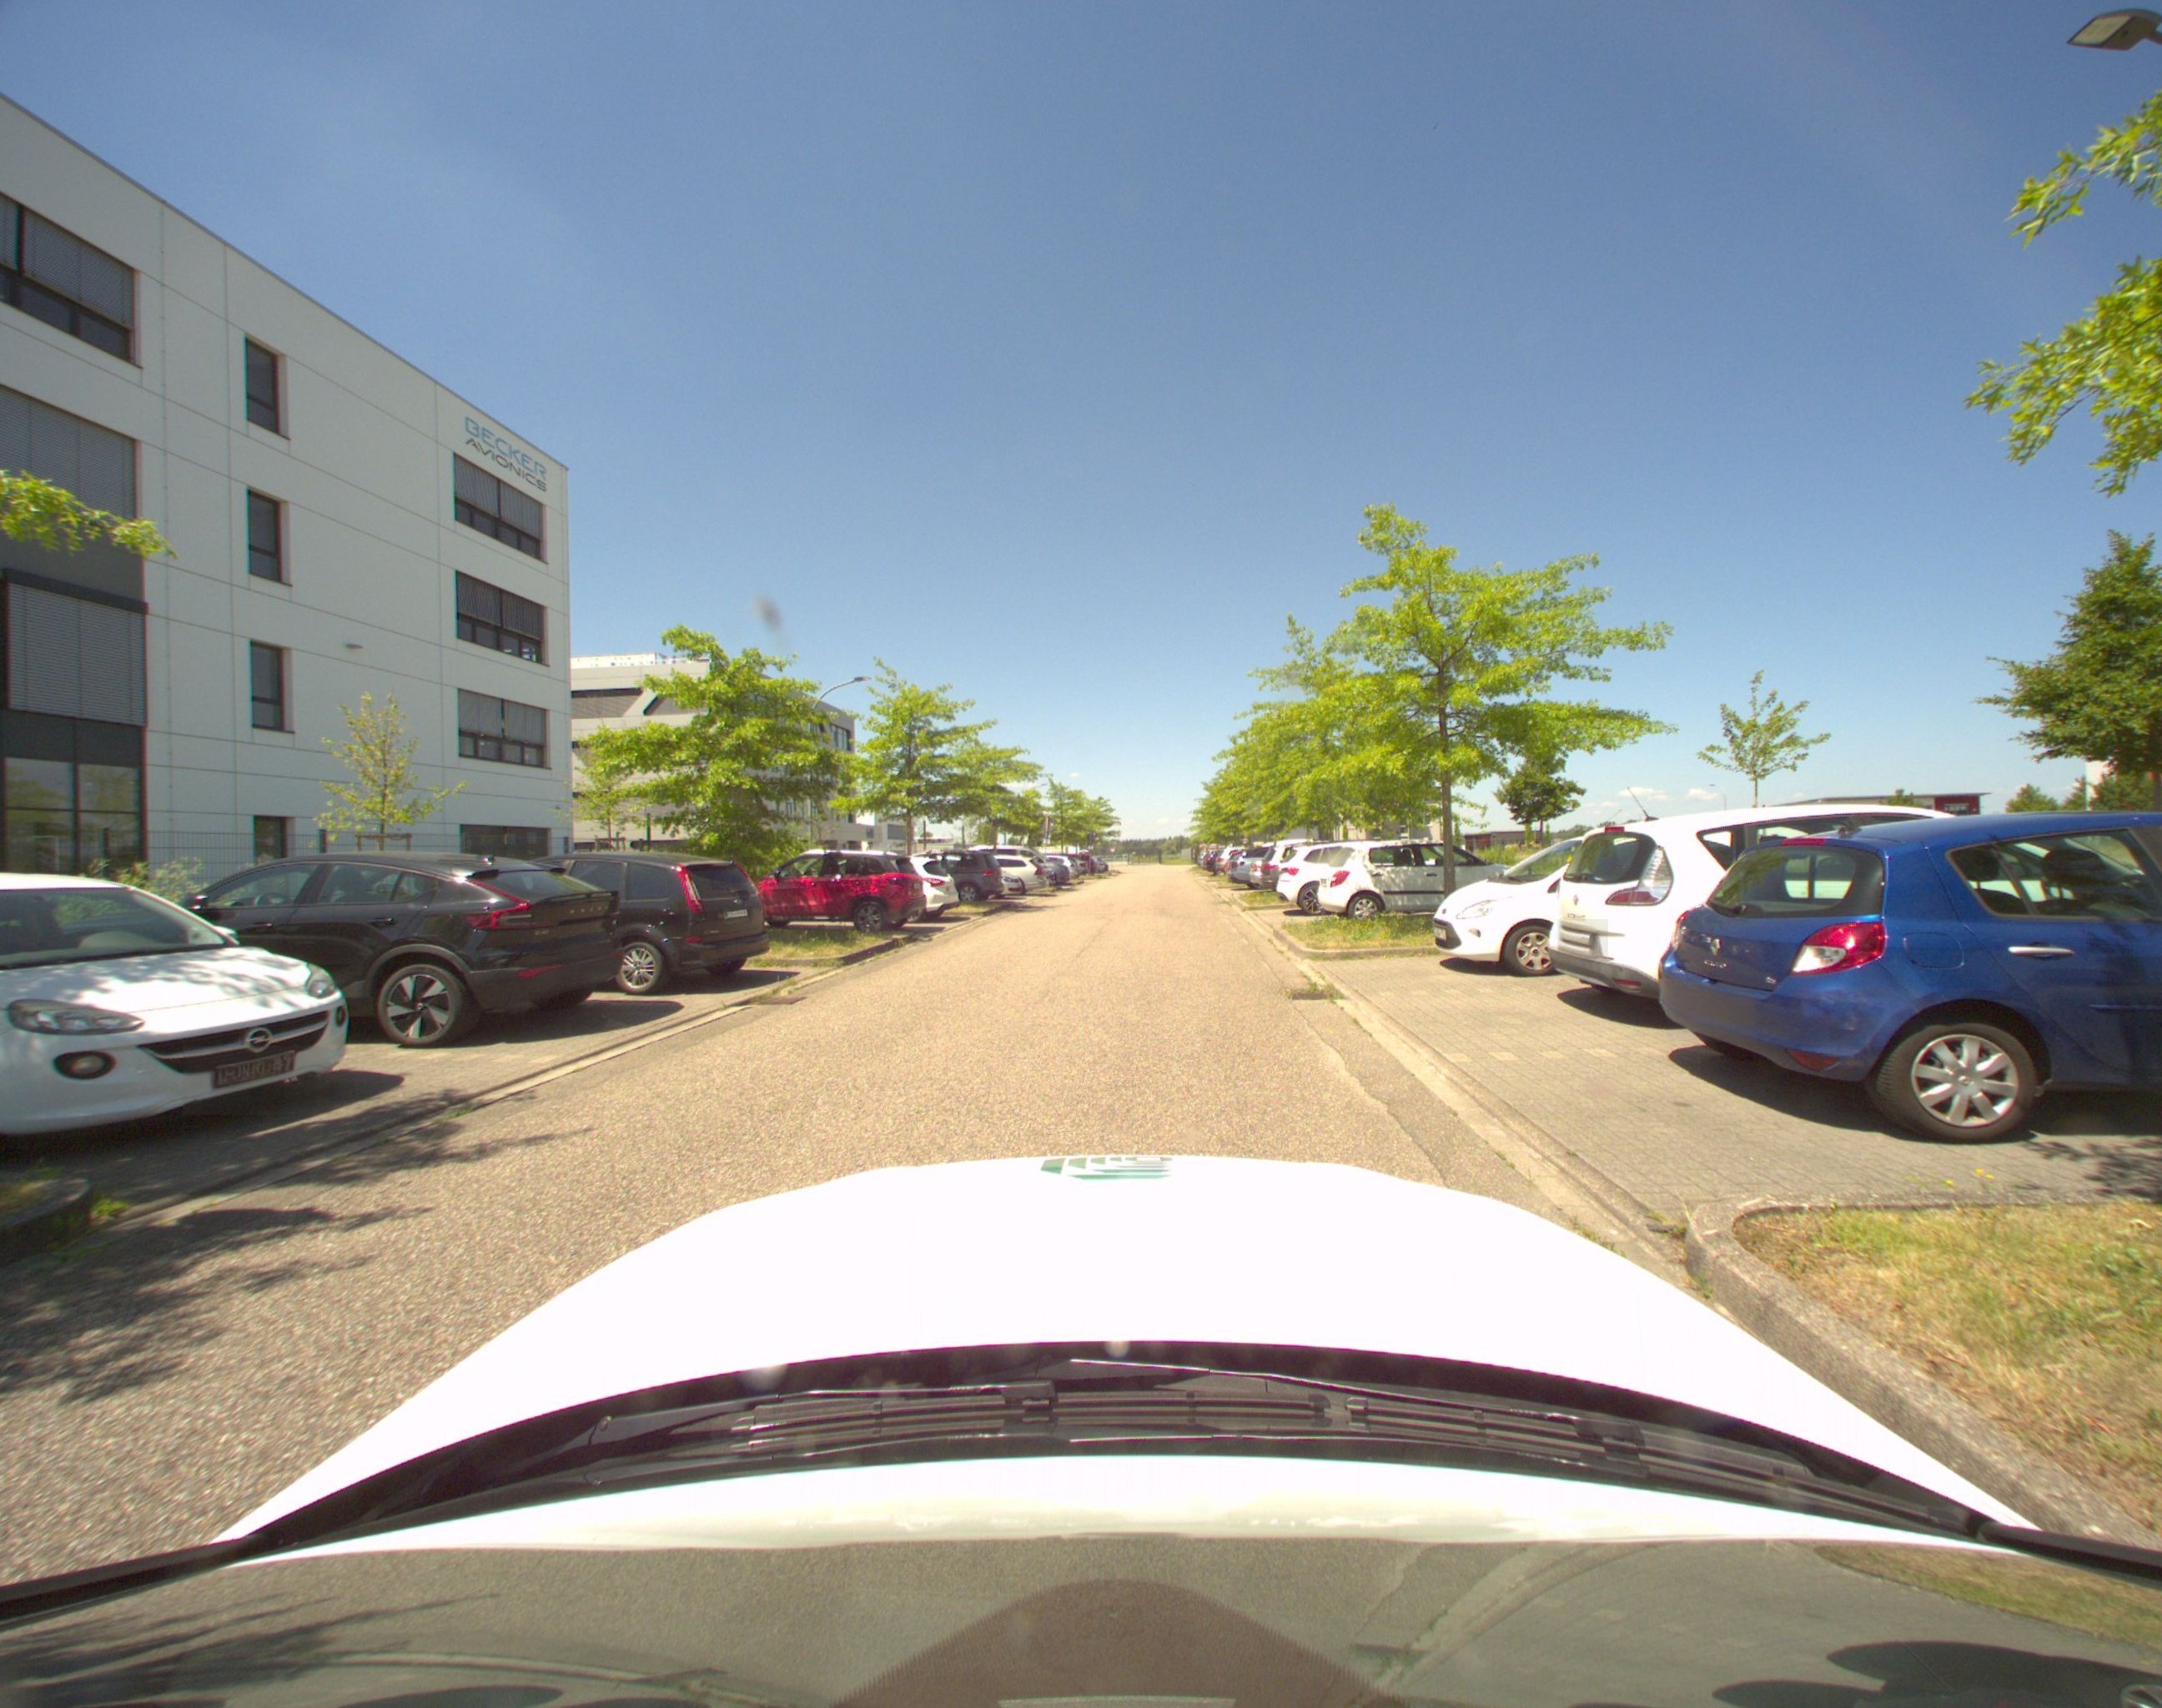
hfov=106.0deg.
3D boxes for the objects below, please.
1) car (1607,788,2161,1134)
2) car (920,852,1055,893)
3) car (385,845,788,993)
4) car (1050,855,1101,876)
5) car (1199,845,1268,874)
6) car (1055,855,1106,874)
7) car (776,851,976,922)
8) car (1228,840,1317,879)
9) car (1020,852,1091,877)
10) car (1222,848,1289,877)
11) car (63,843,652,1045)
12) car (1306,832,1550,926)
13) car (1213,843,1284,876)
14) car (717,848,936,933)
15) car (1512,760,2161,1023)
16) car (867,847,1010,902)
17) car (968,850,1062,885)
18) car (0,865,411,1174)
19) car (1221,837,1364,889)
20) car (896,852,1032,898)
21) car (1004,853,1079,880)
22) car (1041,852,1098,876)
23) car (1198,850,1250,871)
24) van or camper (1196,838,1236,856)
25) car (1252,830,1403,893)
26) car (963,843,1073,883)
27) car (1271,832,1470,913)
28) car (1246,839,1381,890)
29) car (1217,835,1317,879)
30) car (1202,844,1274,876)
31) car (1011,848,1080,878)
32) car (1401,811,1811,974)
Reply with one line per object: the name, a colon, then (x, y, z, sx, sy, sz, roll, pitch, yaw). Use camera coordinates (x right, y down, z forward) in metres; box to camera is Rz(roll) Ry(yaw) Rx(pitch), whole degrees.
car: (5.441, 0.429, 4.379, 3.972, 1.490, 1.732, -4, 0, 9)
car: (-3.408, 0.667, 30.174, 4.694, 1.447, 1.859, 0, 0, 2)
car: (-5.837, 0.706, 9.904, 3.888, 1.592, 1.730, 0, 0, 5)
car: (-0.409, 0.843, 59.731, 3.642, 1.508, 1.732, 0, 0, 2)
car: (10.540, 0.379, 56.406, 4.430, 1.768, 1.995, -3, 0, 3)
car: (-0.001, 0.852, 66.647, 4.060, 1.424, 1.875, 1, 0, 2)
car: (-4.745, 0.715, 19.156, 4.149, 1.513, 1.811, 1, 1, 7)
car: (8.481, 0.264, 36.250, 3.612, 1.503, 1.679, -3, -1, 6)
car: (-1.552, 0.622, 50.893, 4.172, 1.480, 1.715, 1, 0, 6)
car: (9.633, 0.463, 45.181, 3.441, 1.417, 1.757, -3, -1, 5)
car: (-6.363, 0.719, 7.510, 3.823, 1.593, 1.830, 0, 0, 2)
car: (6.328, 0.457, 15.244, 3.815, 1.524, 1.782, -2, 0, 5)
car: (9.691, 0.319, 47.414, 3.856, 1.678, 1.785, -3, -1, 6)
car: (-5.049, 0.685, 16.477, 3.822, 1.592, 1.729, 0, 0, 3)
car: (6.028, 0.281, 6.579, 4.084, 1.650, 1.779, -4, 0, 10)
car: (-4.418, 0.624, 25.602, 4.098, 1.634, 1.730, 0, 0, 4)
car: (-2.943, 0.607, 36.890, 3.949, 1.484, 1.767, 1, 0, 6)
car: (-6.498, 0.815, 4.954, 3.488, 1.441, 1.730, 0, 0, 5)
car: (7.609, 0.317, 29.640, 4.698, 1.561, 1.914, -3, -1, 2)
car: (-3.925, 0.680, 27.777, 4.292, 1.473, 1.729, 0, 0, 3)
car: (-2.174, 0.706, 45.770, 4.020, 1.461, 1.605, 1, 0, 3)
car: (-0.776, 0.703, 57.135, 3.718, 1.621, 1.820, 0, 0, 6)
car: (12.347, 0.562, 70.723, 4.258, 1.644, 1.854, -3, -1, 6)
van or camper: (17.180, -0.864, 103.772, 4.913, 2.163, 2.003, -2, 1, 5)
car: (7.320, 0.215, 24.495, 4.026, 1.625, 1.696, -3, -1, 6)
car: (-3.013, 0.430, 39.854, 5.042, 1.892, 2.001, 0, 0, 7)
car: (6.152, 0.379, 17.717, 3.809, 1.553, 1.785, -2, 0, 11)
car: (7.629, 0.347, 26.995, 4.026, 1.453, 1.648, -3, -1, 6)
car: (8.765, 0.164, 38.733, 4.380, 1.830, 1.799, -3, -1, 6)
car: (9.625, 0.371, 50.144, 4.154, 1.696, 1.784, -3, -1, 4)
car: (-2.102, 0.516, 48.618, 3.973, 1.678, 1.777, 1, 0, 0)
car: (5.829, 0.408, 9.365, 3.605, 1.463, 1.611, -4, 0, 1)
